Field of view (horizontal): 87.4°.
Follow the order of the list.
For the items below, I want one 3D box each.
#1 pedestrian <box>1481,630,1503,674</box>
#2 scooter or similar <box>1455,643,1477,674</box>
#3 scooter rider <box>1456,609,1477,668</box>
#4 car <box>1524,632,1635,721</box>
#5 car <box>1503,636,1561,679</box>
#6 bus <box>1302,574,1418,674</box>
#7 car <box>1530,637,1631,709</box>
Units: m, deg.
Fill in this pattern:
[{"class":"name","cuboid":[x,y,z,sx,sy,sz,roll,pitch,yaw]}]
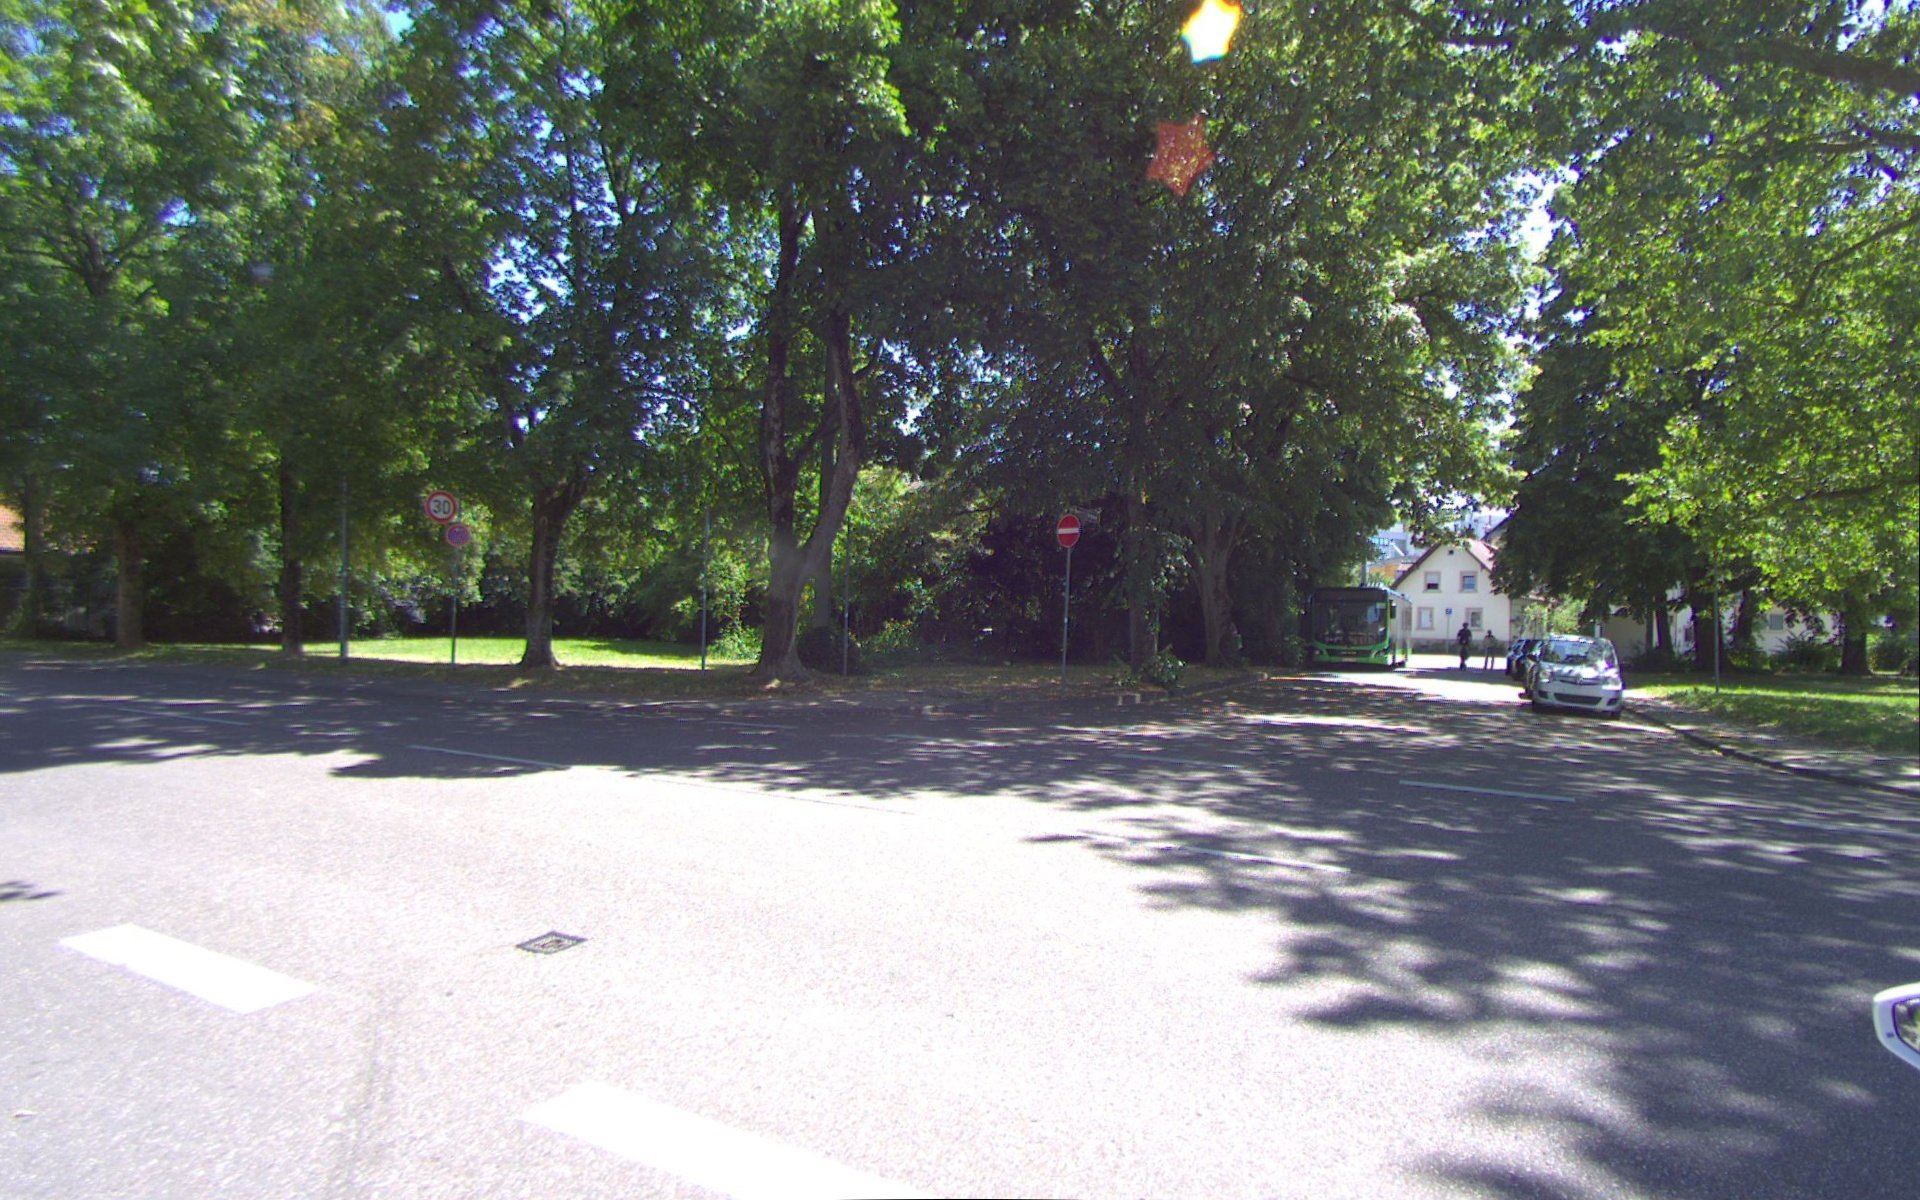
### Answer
[{"class":"pedestrian","cuboid":[22.772,2.214,42.976,0.710,1.826,0.938,1,-1,33]},{"class":"scooter or similar","cuboid":[20.565,2.358,40.826,0.727,1.199,1.517,1,-1,28]},{"class":"scooter rider","cuboid":[20.593,1.574,40.840,0.727,2.348,0.925,1,-1,29]},{"class":"car","cuboid":[12.286,1.443,20.086,1.570,1.517,3.481,3,0,28]},{"class":"car","cuboid":[21.918,2.159,38.617,1.727,1.513,3.913,1,-1,27]},{"class":"bus","cuboid":[16.972,1.041,41.651,2.824,3.338,15.931,1,-1,28]},{"class":"car","cuboid":[15.128,1.703,24.667,1.724,1.458,4.497,3,0,28]}]
